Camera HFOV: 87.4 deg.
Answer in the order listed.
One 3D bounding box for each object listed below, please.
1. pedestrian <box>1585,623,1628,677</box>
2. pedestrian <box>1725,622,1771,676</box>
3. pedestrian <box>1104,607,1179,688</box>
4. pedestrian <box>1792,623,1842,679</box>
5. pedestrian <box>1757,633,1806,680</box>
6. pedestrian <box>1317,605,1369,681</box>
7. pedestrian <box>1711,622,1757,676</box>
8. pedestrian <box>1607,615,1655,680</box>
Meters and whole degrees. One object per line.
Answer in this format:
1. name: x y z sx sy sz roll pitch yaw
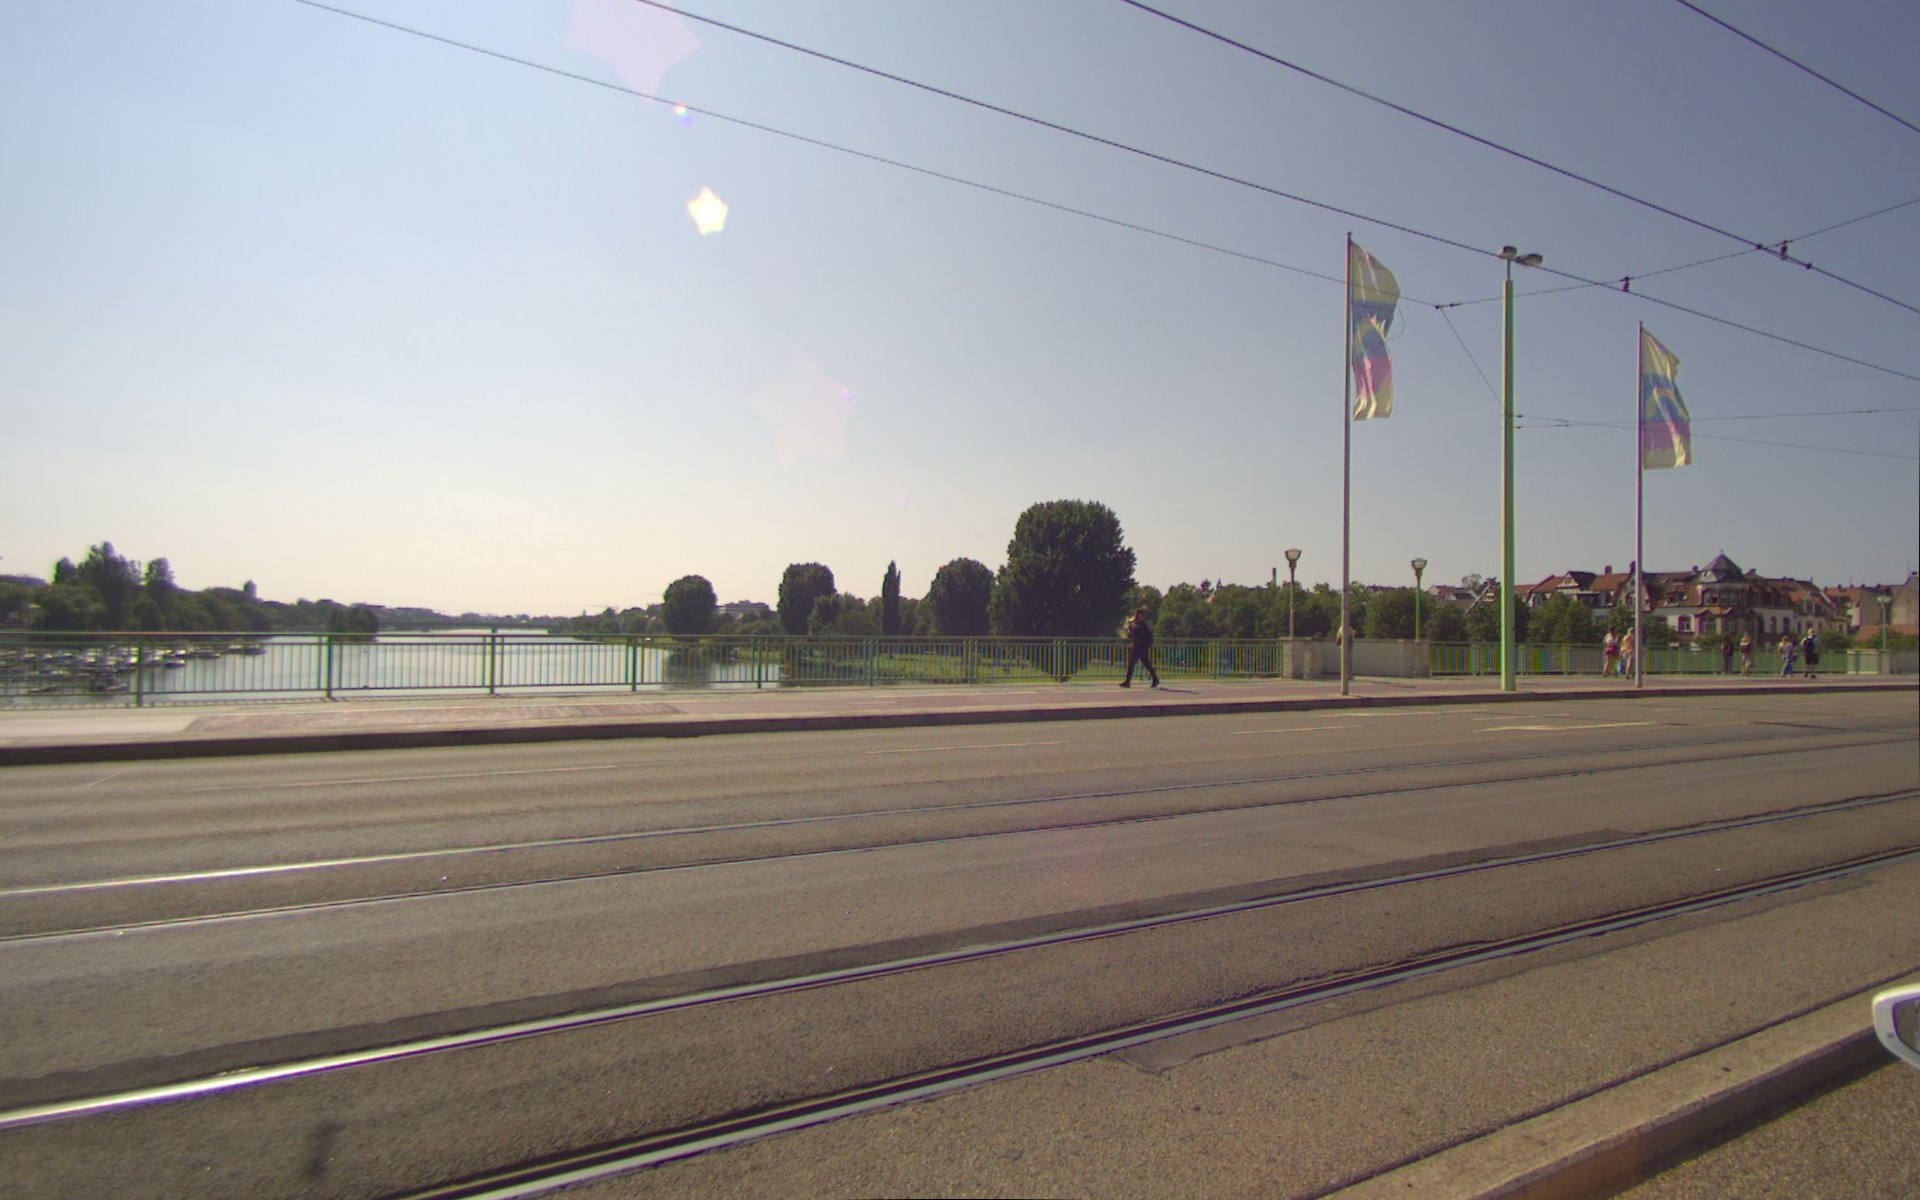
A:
1. pedestrian: 21.668 1.672 33.664 1.162 1.745 0.750 2 -1 -31
2. pedestrian: 30.724 1.896 39.156 1.116 2.040 1.092 1 -1 -31
3. pedestrian: 4.136 1.069 22.927 1.280 1.781 1.092 1 -1 -31
4. pedestrian: 32.108 1.894 37.650 1.280 2.040 1.092 1 -1 -31
5. pedestrian: 31.446 2.136 38.454 1.280 1.752 1.092 1 -1 -31
6. pedestrian: 10.475 1.165 27.452 1.030 2.040 0.894 1 -1 -31
7. pedestrian: 29.511 1.851 38.294 1.116 2.040 1.092 1 -1 -31
8. pedestrian: 21.763 1.525 32.593 1.090 2.040 0.963 1 -1 -34
